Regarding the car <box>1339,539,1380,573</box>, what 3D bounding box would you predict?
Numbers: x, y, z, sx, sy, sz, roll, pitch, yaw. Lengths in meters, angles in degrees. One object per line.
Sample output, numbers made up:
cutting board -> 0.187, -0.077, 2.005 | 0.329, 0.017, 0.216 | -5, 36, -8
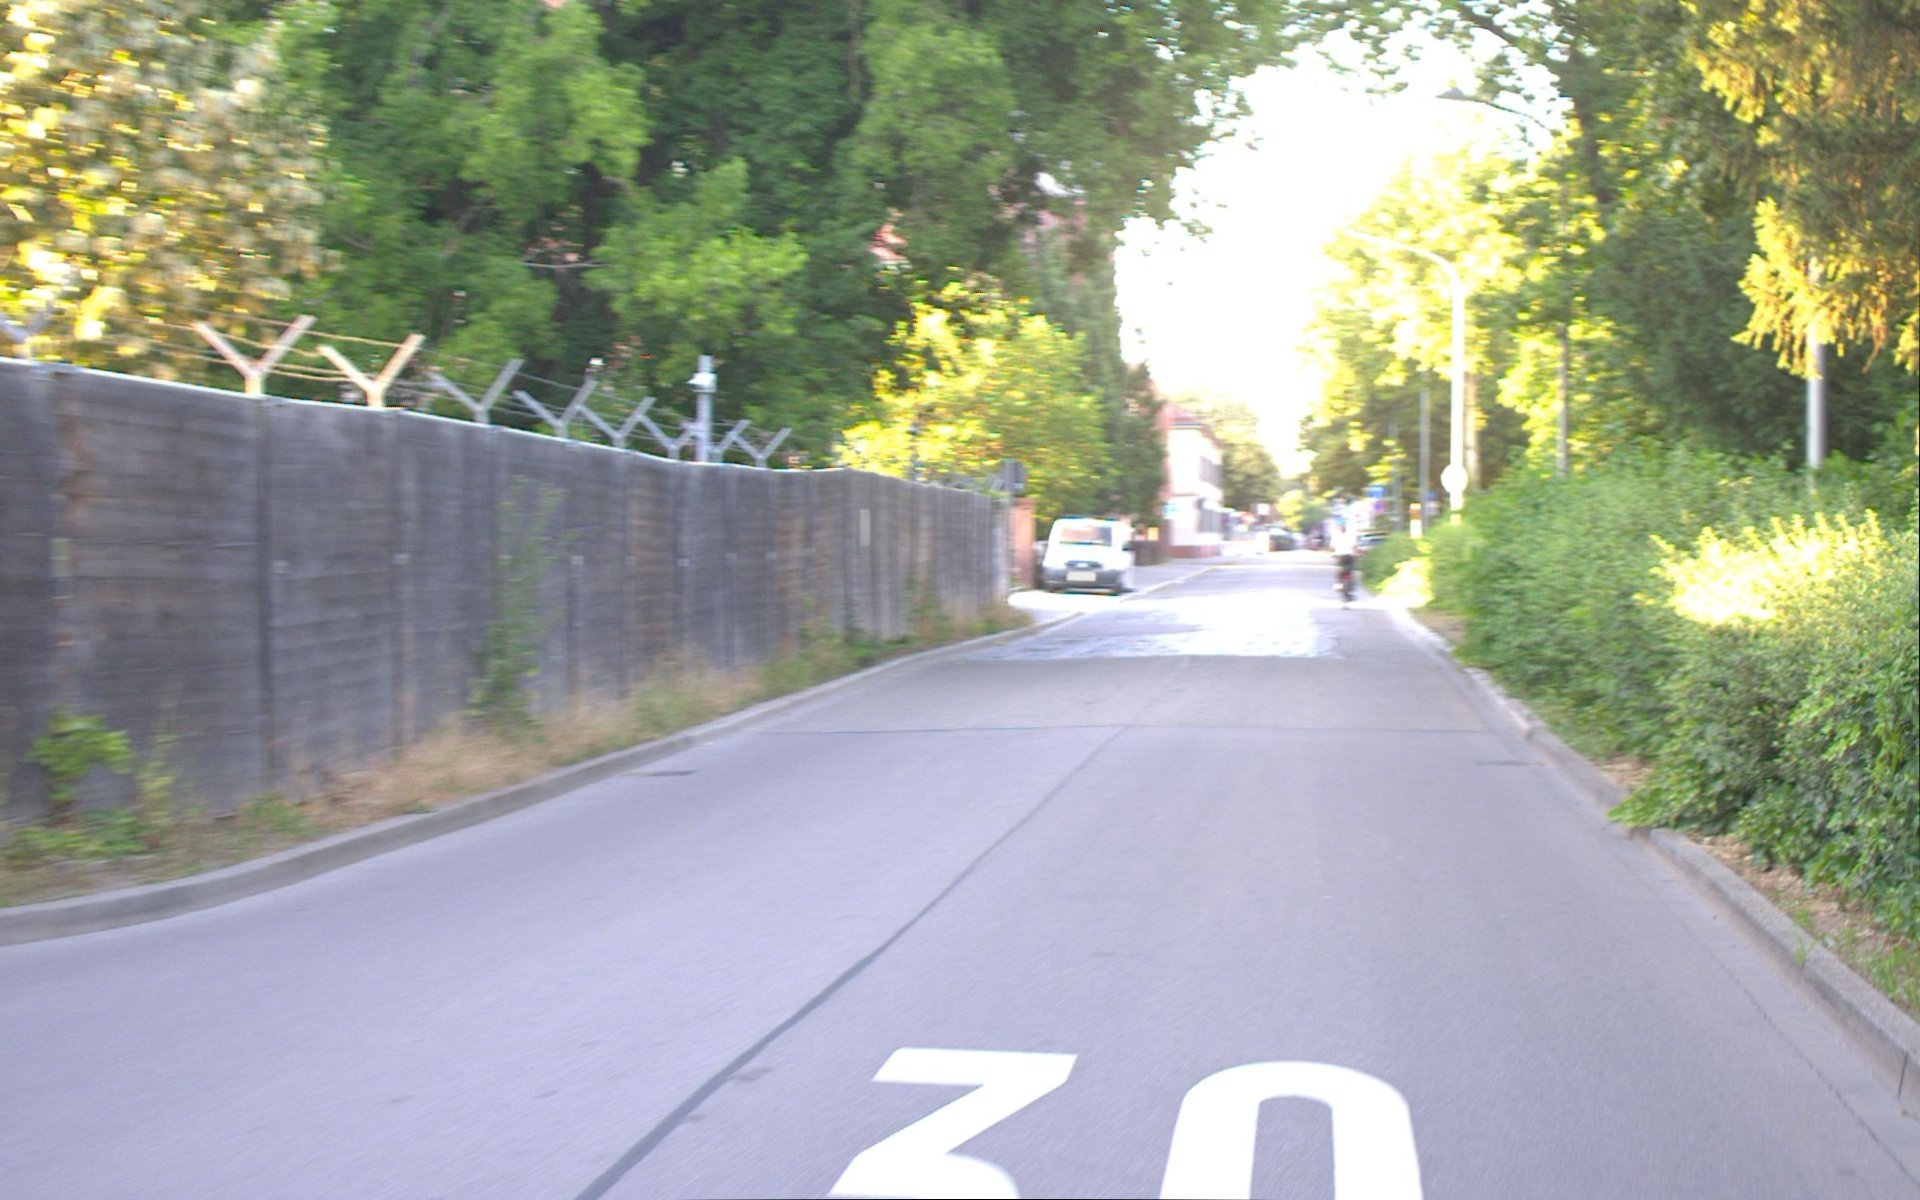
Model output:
car -> 18.532, -2.052, 159.597 | 1.716, 1.532, 4.048 | 0, 1, 4

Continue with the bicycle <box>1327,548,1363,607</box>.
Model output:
bicycle -> 7.963, -0.471, 71.098 | 0.638, 1.189, 1.876 | 1, 1, 4

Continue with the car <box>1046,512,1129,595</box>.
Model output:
car -> 3.286, -1.158, 87.878 | 1.883, 2.007, 5.225 | 2, 0, 4

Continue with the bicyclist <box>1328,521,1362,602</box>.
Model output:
bicyclist -> 7.976, -0.798, 71.208 | 0.639, 1.661, 0.842 | 1, 1, 4
